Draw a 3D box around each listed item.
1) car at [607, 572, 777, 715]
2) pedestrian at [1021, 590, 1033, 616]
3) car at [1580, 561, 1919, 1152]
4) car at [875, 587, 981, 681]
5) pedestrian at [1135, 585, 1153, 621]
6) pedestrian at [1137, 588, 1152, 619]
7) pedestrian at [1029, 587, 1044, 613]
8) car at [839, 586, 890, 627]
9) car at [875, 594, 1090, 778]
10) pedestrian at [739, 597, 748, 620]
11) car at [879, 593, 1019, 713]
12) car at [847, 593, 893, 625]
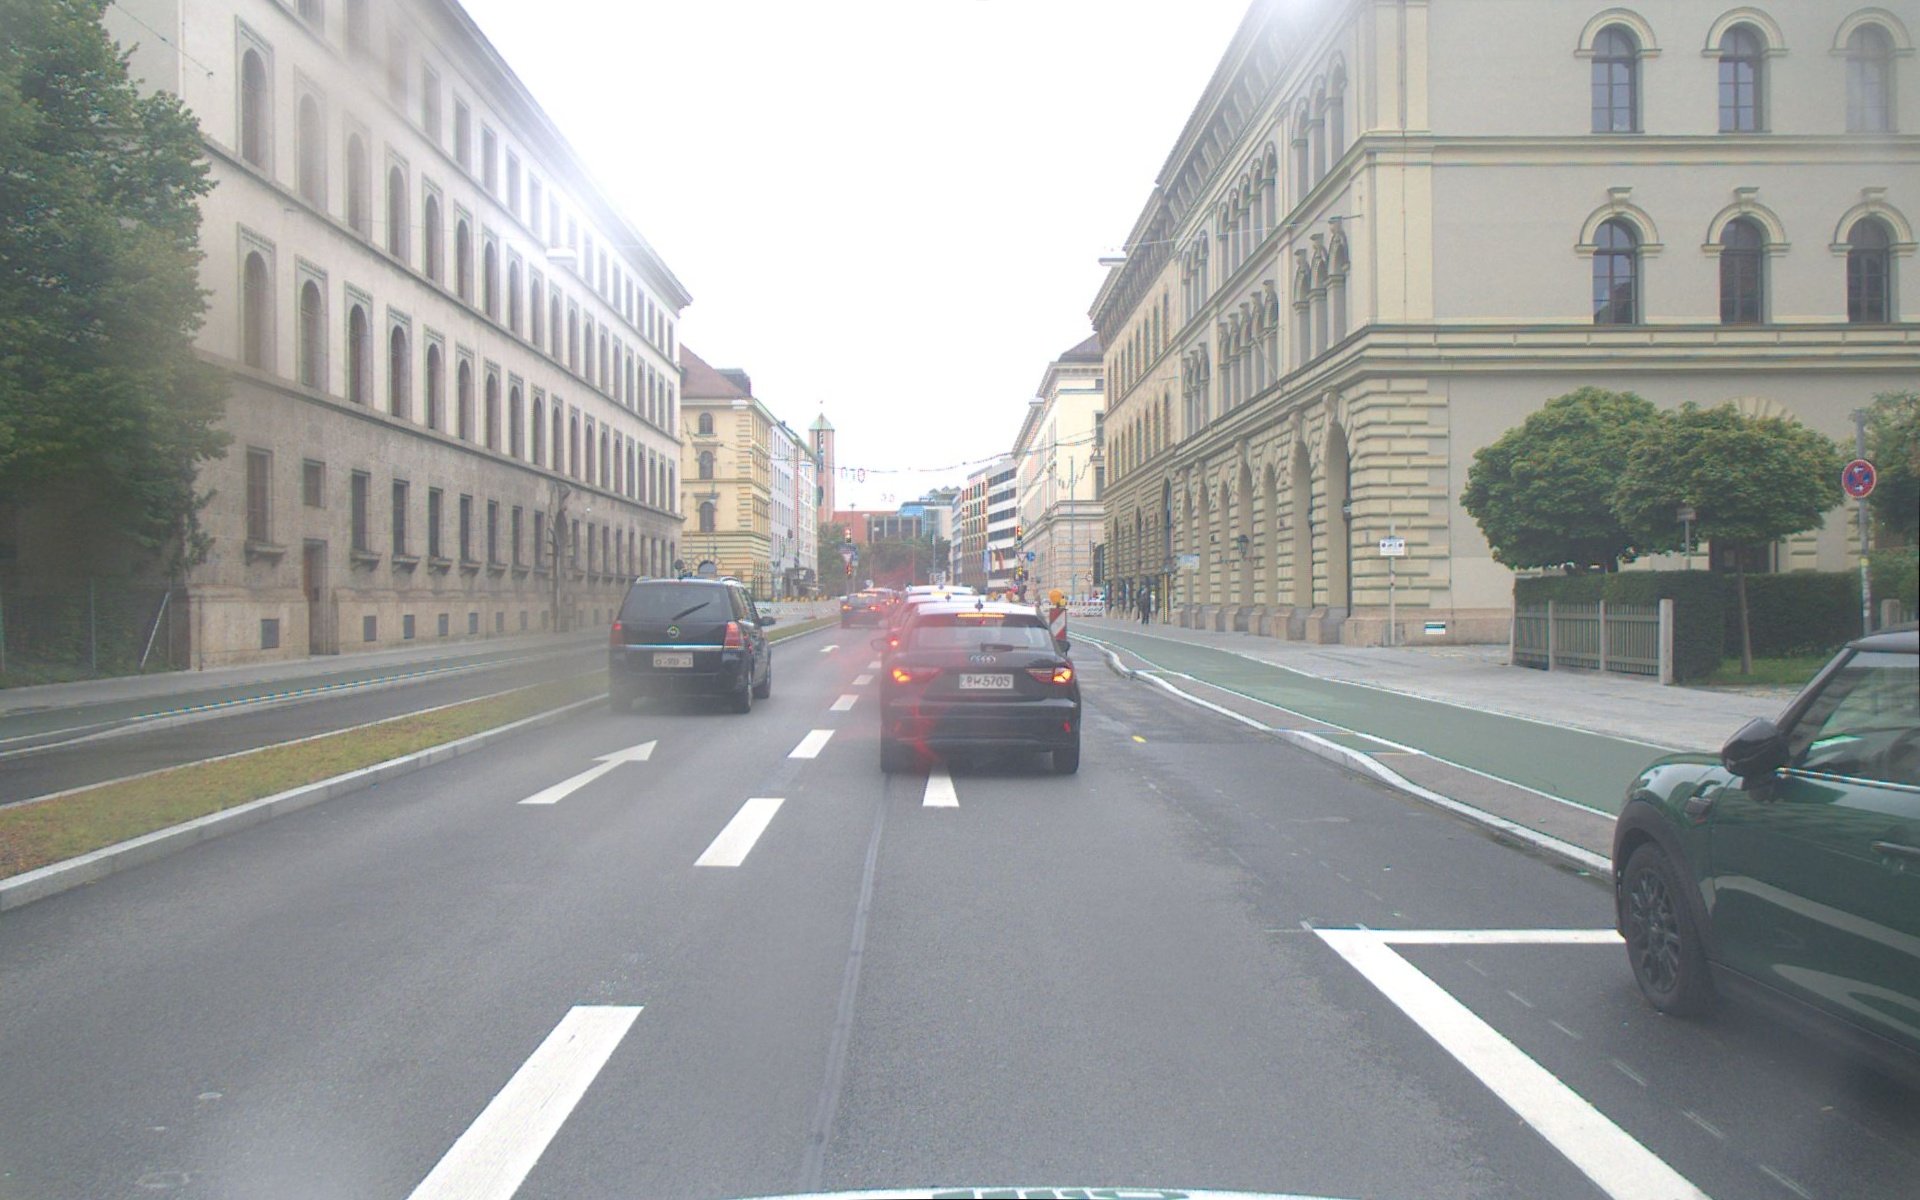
[{"bbox_3d":[-3.340,0.497,21.257,1.729,1.644,4.027,1,0,-3],"label":"car"},{"bbox_3d":[4.415,0.201,108.513,0.736,1.646,0.713,0,0,7],"label":"pedestrian"},{"bbox_3d":[3.341,0.677,4.817,1.641,1.547,3.829,1,0,0],"label":"car"},{"bbox_3d":[-0.543,0.531,28.591,1.695,1.486,3.999,1,0,-1],"label":"car"},{"bbox_3d":[8.424,0.131,75.731,0.695,1.646,0.754,0,0,-2],"label":"pedestrian"},{"bbox_3d":[9.695,0.175,86.810,0.695,1.646,0.754,0,0,-2],"label":"pedestrian"},{"bbox_3d":[4.926,0.019,106.415,0.702,1.646,0.747,0,0,-30],"label":"pedestrian"},{"bbox_3d":[-3.962,0.251,69.239,1.953,1.656,4.000,0,0,-1],"label":"car"},{"bbox_3d":[0.150,0.683,15.184,1.695,1.427,3.999,1,0,-1],"label":"car"},{"bbox_3d":[-17.380,0.684,132.703,0.642,1.836,0.727,0,0,-2],"label":"pedestrian"},{"bbox_3d":[-0.164,0.644,22.324,1.695,1.427,3.999,1,0,-1],"label":"car"},{"bbox_3d":[-4.195,0.402,77.537,1.953,1.469,4.000,0,0,-1],"label":"car"}]
